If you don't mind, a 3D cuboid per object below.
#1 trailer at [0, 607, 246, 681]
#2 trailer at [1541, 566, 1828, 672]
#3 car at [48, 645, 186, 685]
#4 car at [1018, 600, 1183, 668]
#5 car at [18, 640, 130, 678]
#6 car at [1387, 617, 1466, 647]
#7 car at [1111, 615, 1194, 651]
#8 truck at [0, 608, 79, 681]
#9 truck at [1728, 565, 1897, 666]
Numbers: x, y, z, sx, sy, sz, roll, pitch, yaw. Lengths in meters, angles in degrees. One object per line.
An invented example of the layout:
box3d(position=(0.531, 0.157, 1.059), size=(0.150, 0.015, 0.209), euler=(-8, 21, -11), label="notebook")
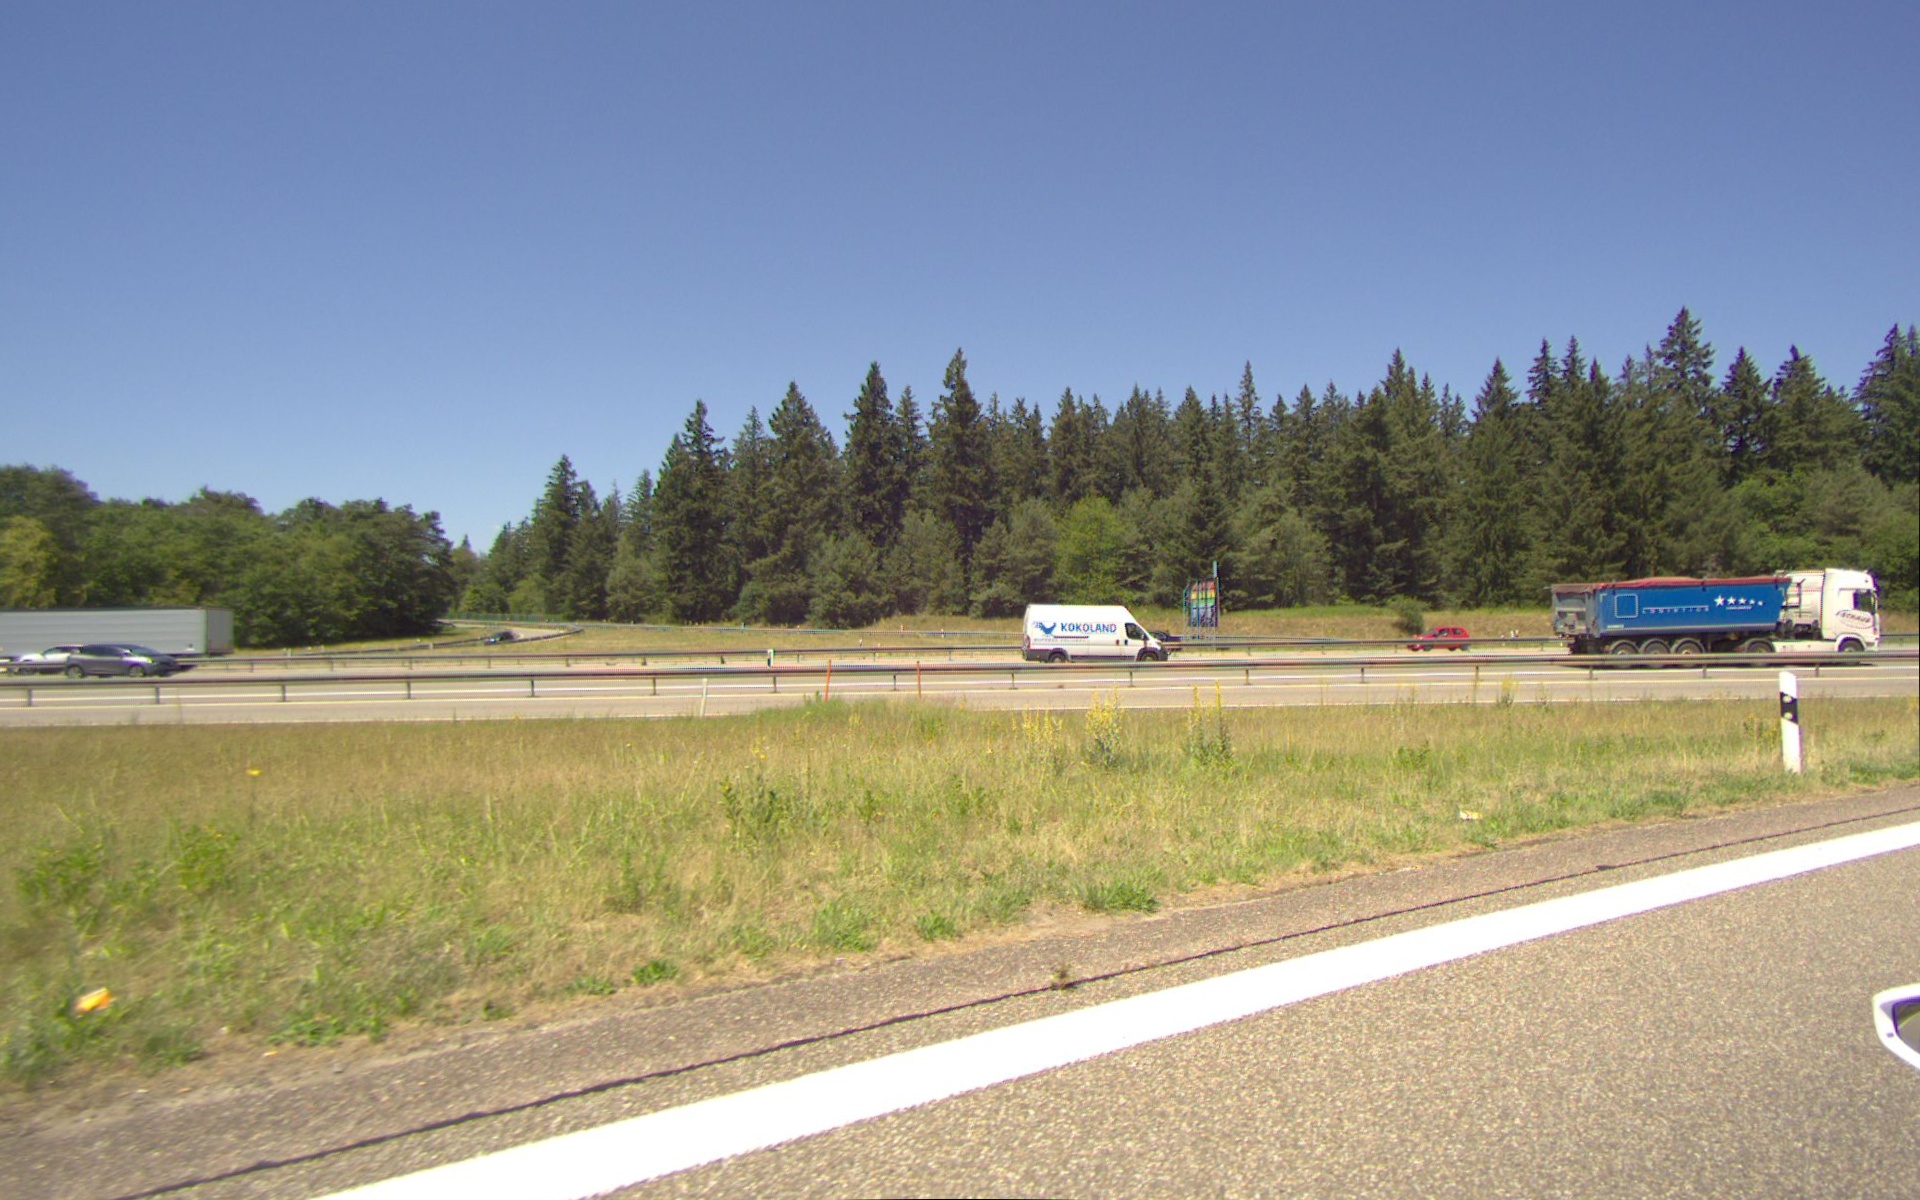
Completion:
box3d(position=(-53.098, 2.762, 63.056), size=(14.020, 4.444, 2.934), euler=(0, -3, -3), label="trailer")
box3d(position=(28.923, 0.737, 40.318), size=(9.694, 3.858, 2.779), euler=(-1, 0, -3), label="trailer")
box3d(position=(-38.541, 2.942, 46.000), size=(4.731, 1.706, 1.777), euler=(1, -1, -2), label="car")
box3d(position=(6.089, 1.477, 44.156), size=(6.916, 2.870, 2.245), euler=(1, 0, -2), label="car")
box3d(position=(-48.826, 3.217, 55.419), size=(4.273, 1.873, 2.000), euler=(-2, -1, -1), label="car")
box3d(position=(28.628, 1.983, 61.737), size=(3.923, 1.750, 1.967), euler=(0, -3, -3), label="car")
box3d(position=(10.940, 1.889, 57.328), size=(4.273, 1.873, 2.000), euler=(-2, -1, -1), label="car")
box3d(position=(-59.504, 2.796, 62.720), size=(6.150, 4.450, 2.948), euler=(0, -3, -3), label="truck")
box3d(position=(34.370, 0.618, 40.620), size=(4.532, 3.858, 2.764), euler=(-1, 0, -3), label="truck")
